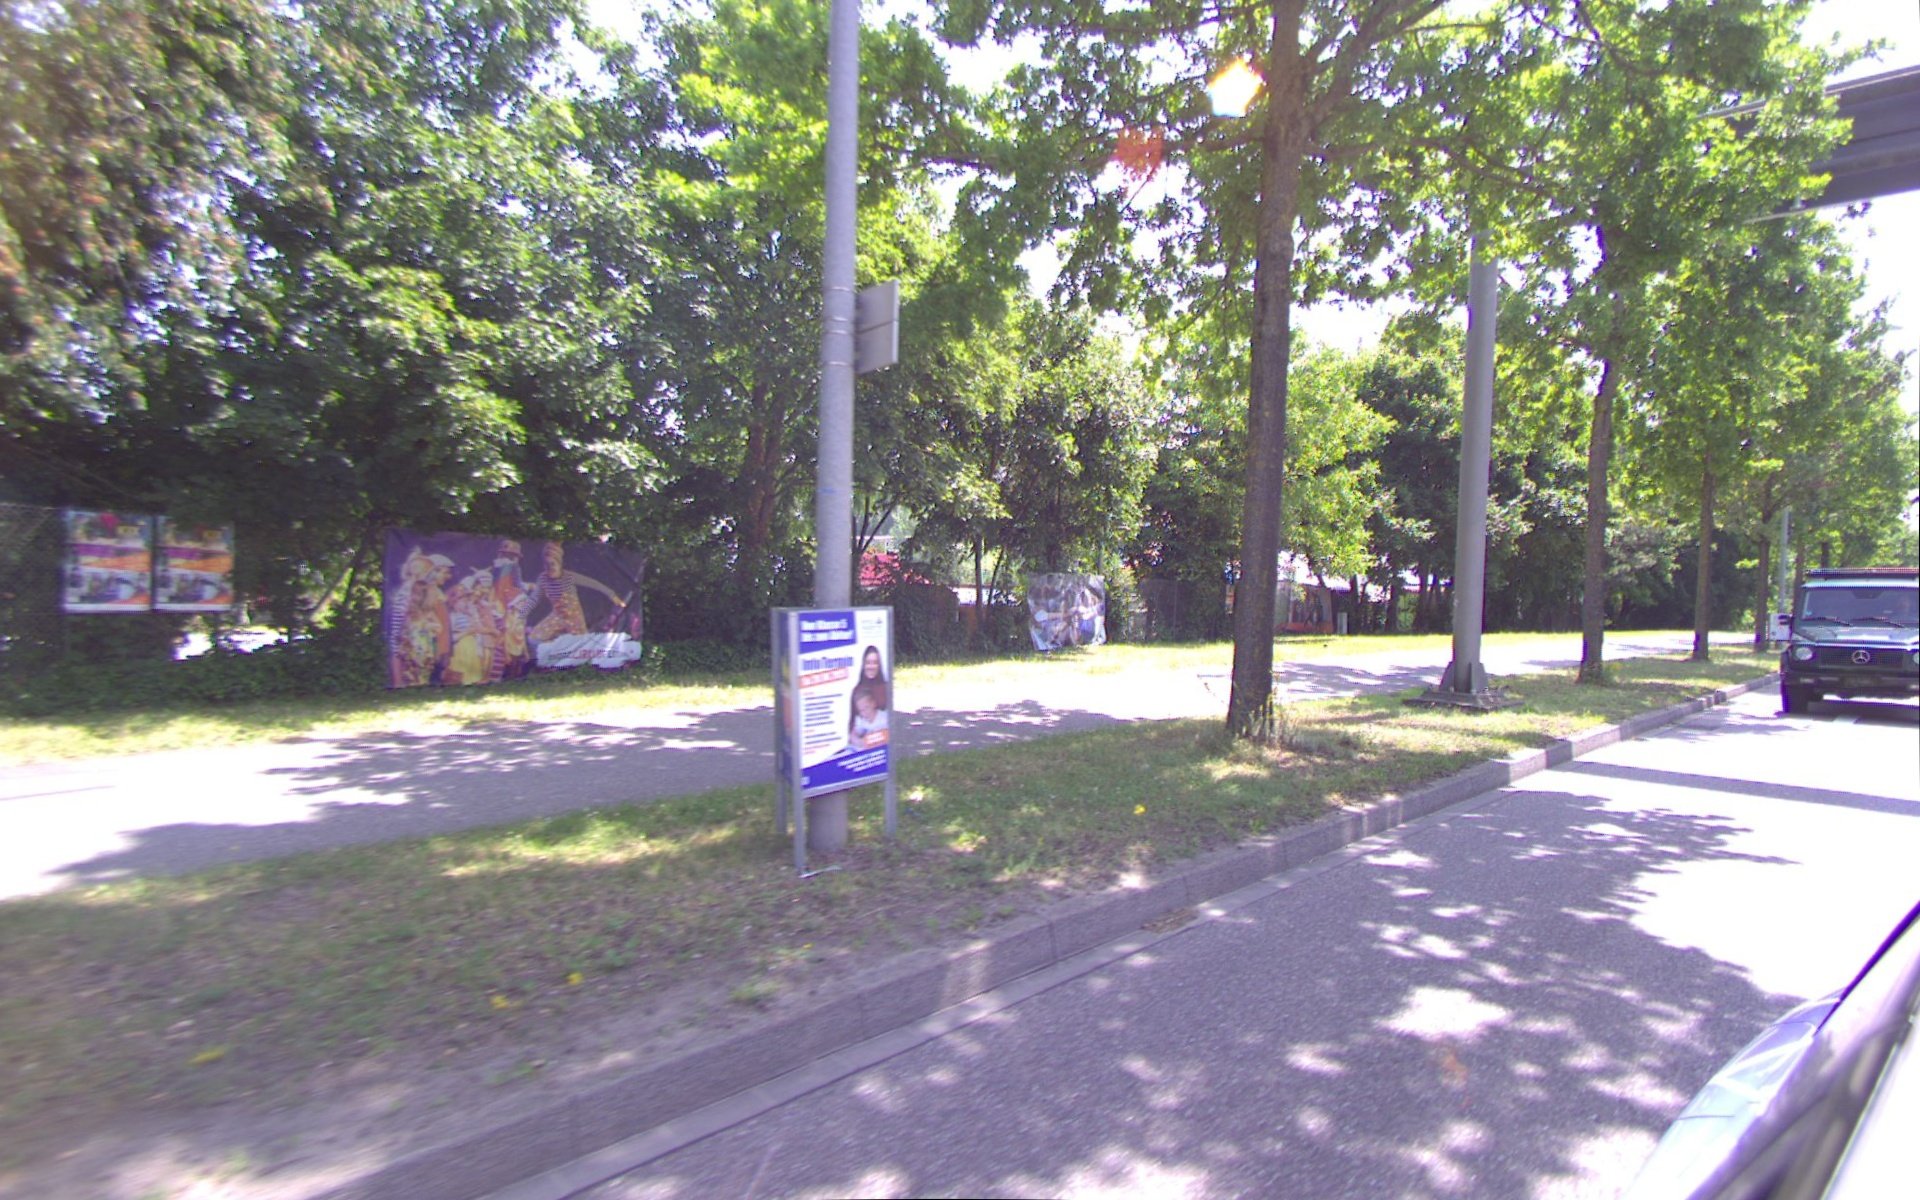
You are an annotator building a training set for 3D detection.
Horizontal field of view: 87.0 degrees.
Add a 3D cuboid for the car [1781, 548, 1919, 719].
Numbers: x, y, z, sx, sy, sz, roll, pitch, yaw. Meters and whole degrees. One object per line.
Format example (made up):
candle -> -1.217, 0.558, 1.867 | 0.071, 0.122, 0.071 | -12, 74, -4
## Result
car -> 13.503, 0.445, 14.824 | 1.838, 2.180, 4.484 | 2, 1, 45
